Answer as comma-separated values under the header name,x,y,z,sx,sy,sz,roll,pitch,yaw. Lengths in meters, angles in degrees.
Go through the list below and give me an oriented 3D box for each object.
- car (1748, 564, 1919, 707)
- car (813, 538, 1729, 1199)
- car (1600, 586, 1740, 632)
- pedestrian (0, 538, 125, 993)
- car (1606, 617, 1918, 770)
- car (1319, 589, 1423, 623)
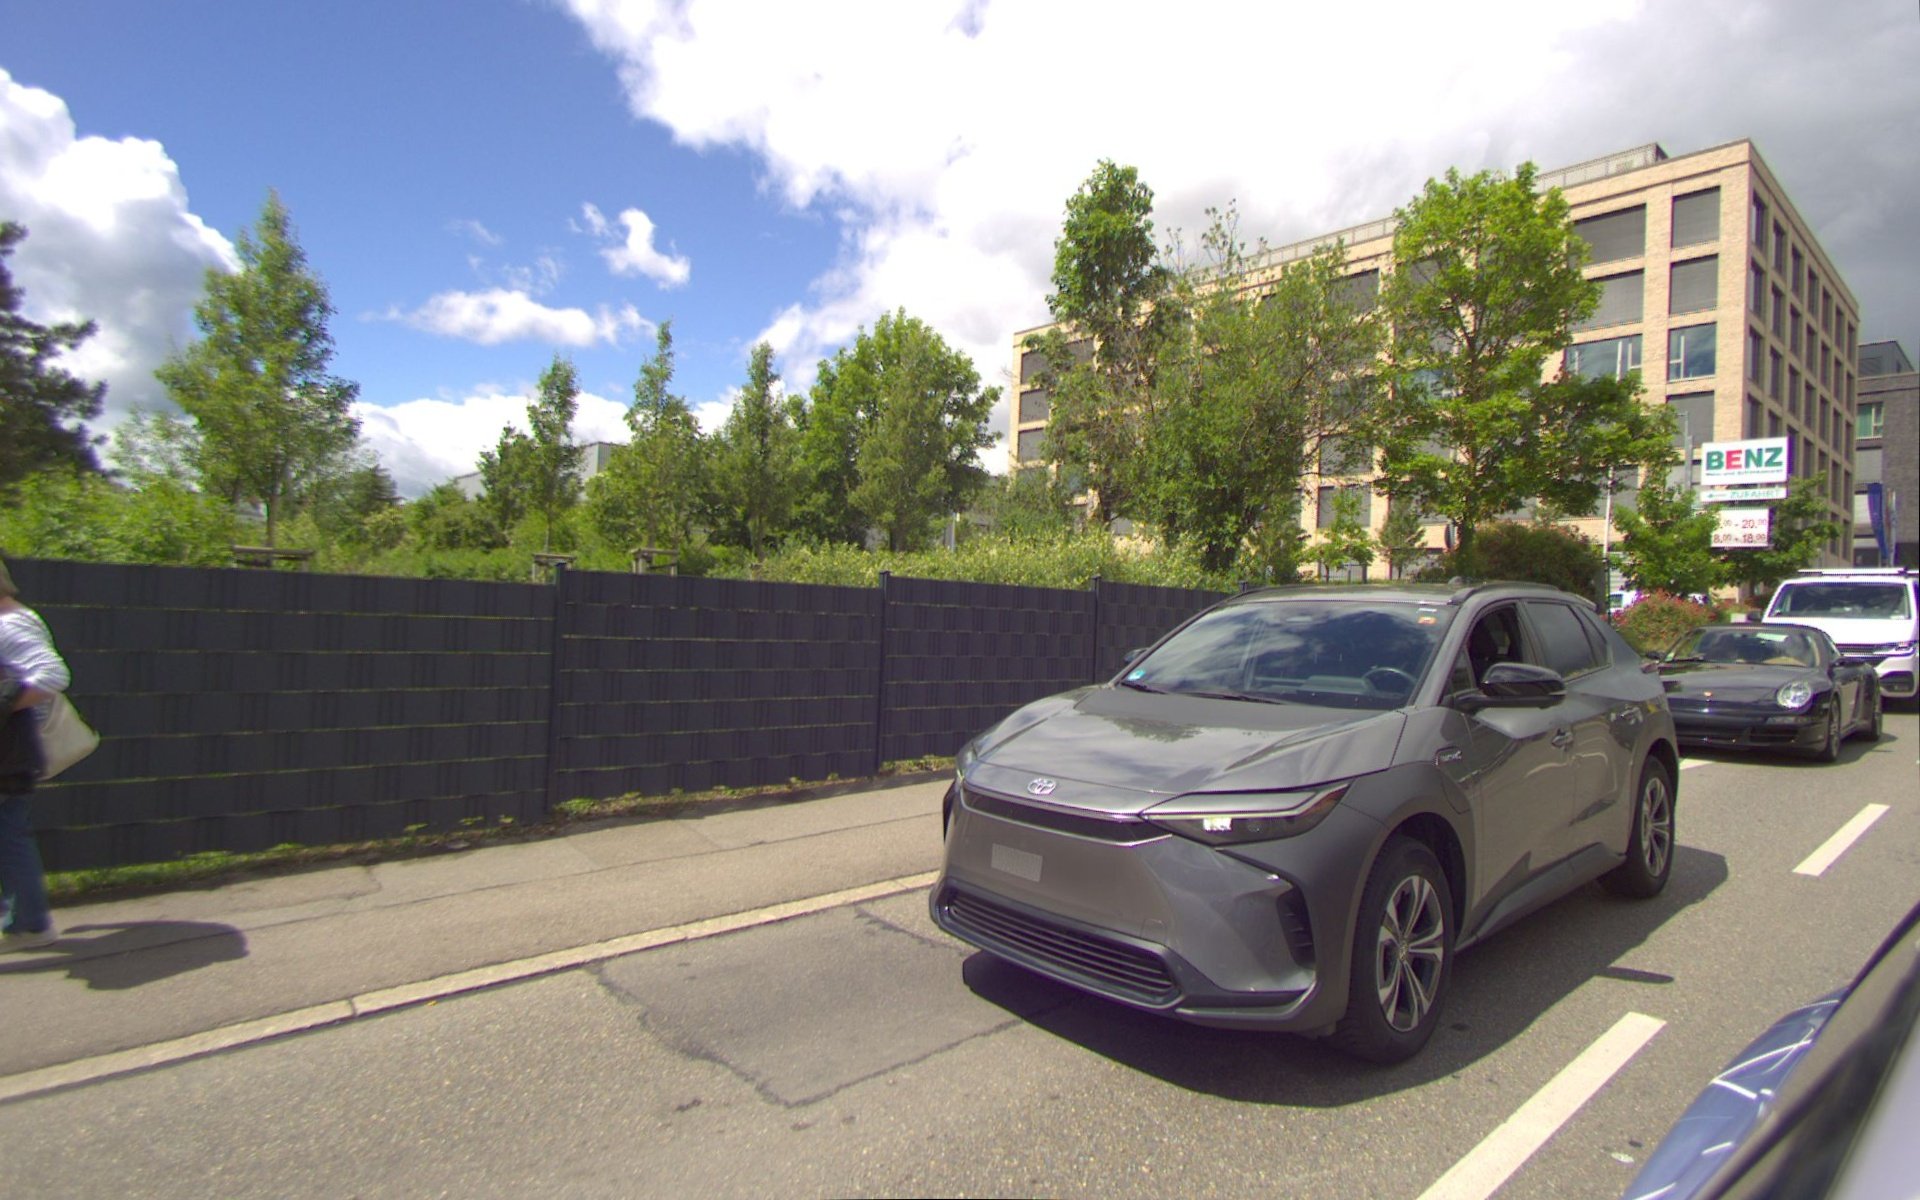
name,x,y,z,sx,sy,sz,roll,pitch,yaw
car,13.801,0.484,15.436,4.563,1.874,1.962,0,-1,-41
car,1.789,0.685,4.686,4.601,1.634,1.922,0,-1,-41
car,27.470,0.324,39.241,1.707,1.596,4.211,1,1,-44
pedestrian,-3.620,0.562,3.829,0.700,1.581,0.861,0,2,-41
car,8.791,0.851,10.943,4.487,1.290,1.776,0,-1,-40
car,19.368,0.251,47.839,1.705,1.436,4.215,1,1,-41
